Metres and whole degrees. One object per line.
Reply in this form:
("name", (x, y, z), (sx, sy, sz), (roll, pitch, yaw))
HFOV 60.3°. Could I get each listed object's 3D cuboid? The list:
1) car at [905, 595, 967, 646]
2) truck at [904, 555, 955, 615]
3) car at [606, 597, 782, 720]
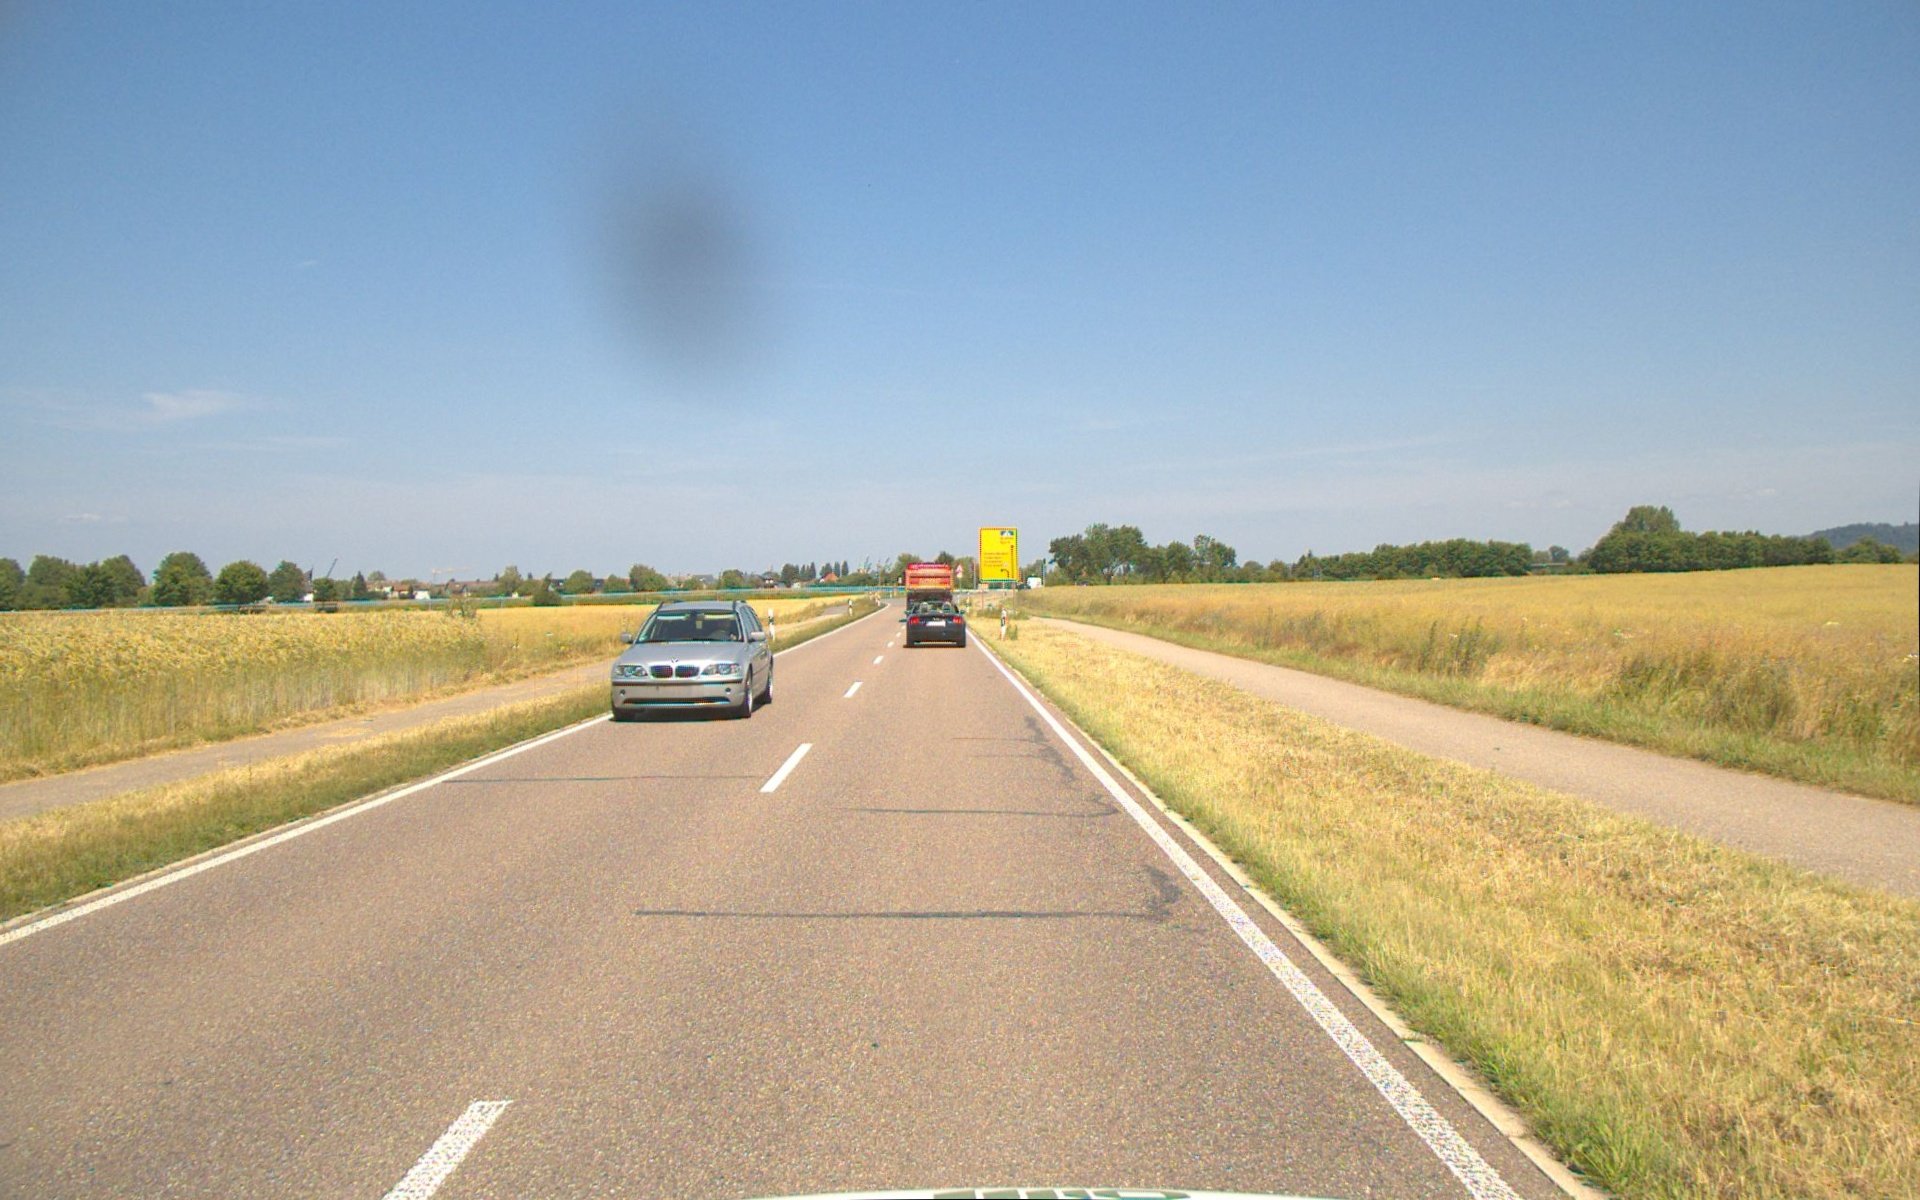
("car", (-0.694, 0.584, 48.062), (1.712, 1.400, 3.678), (1, 0, -1))
("truck", (-1.658, -0.752, 89.456), (2.659, 3.106, 8.162), (0, 0, -1))
("car", (-3.416, 0.714, 21.878), (1.712, 1.425, 4.031), (-2, 0, -1))
